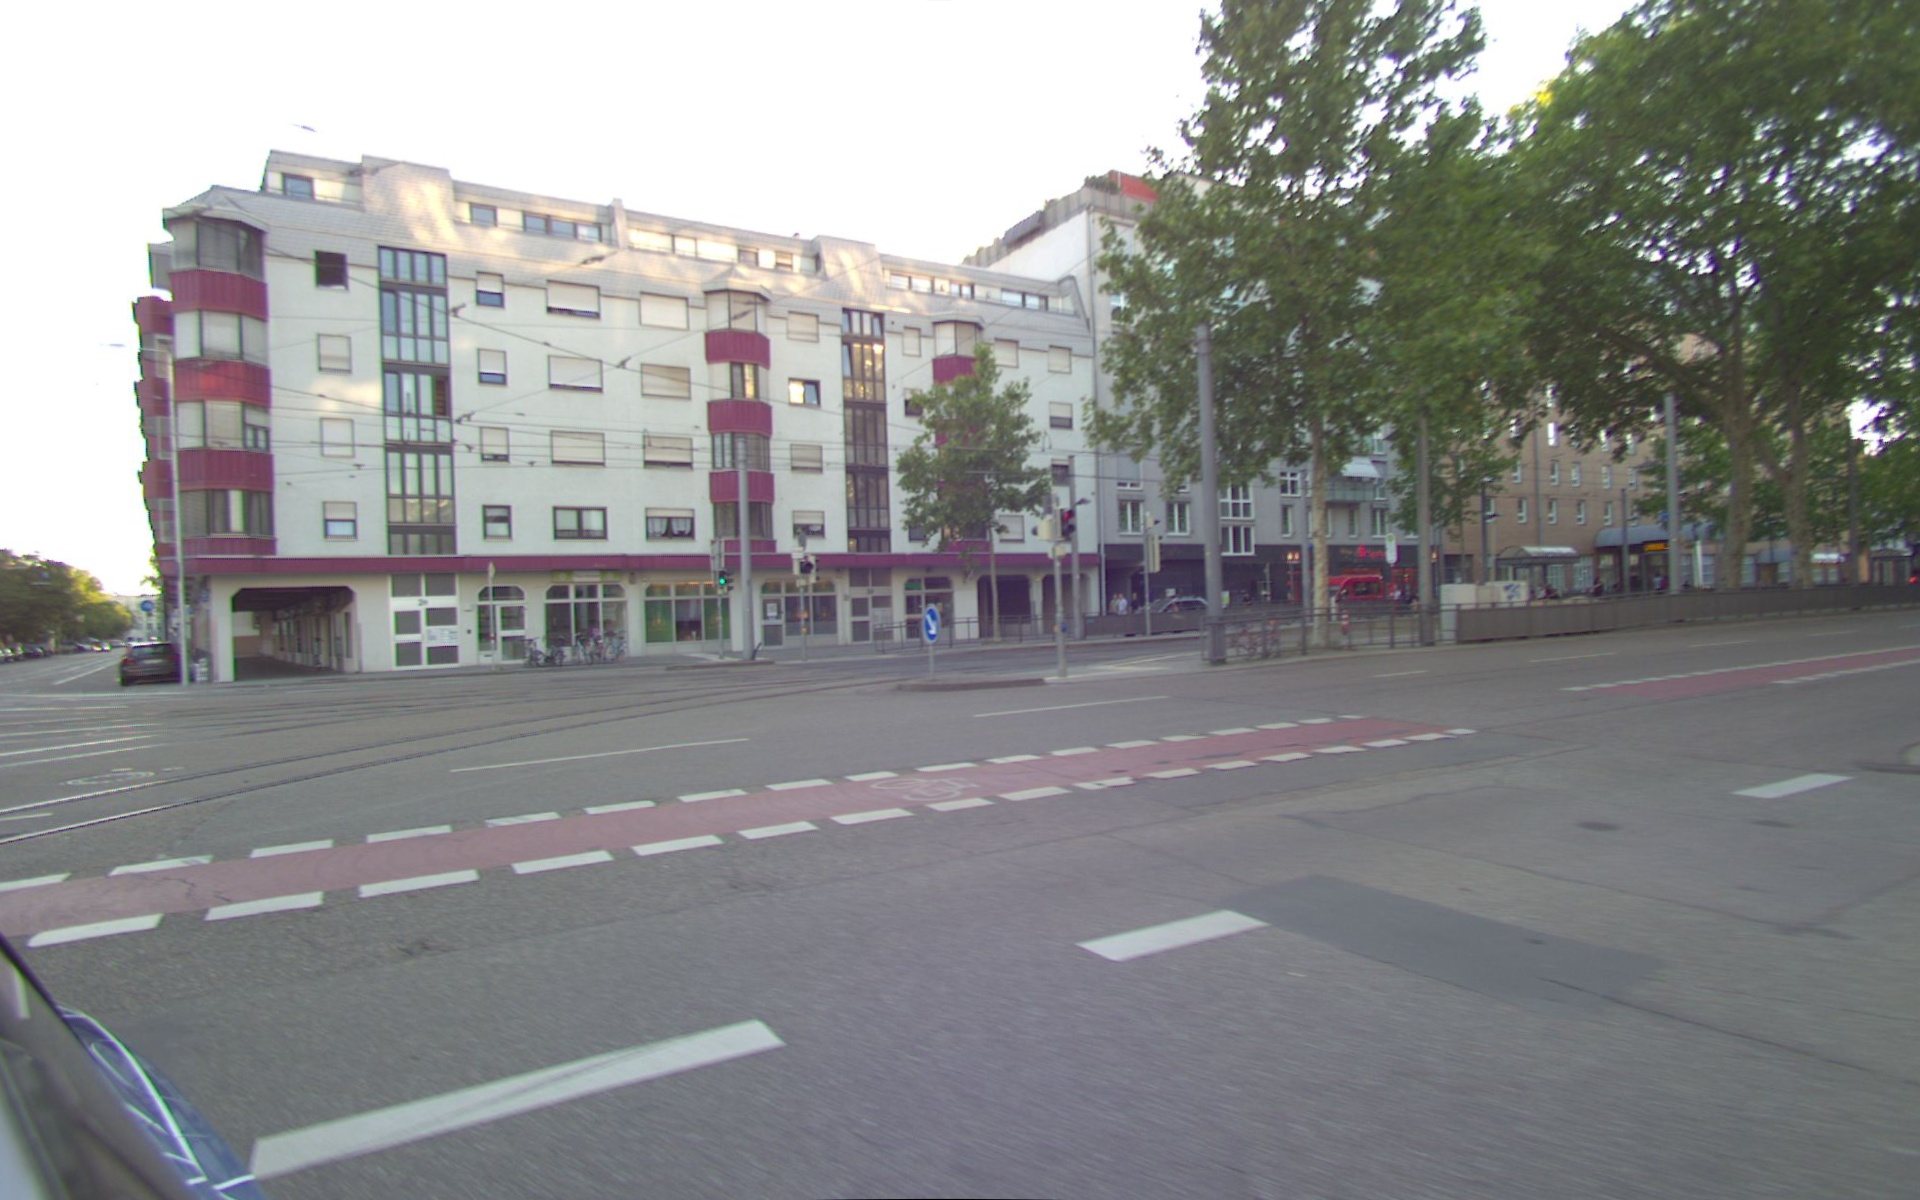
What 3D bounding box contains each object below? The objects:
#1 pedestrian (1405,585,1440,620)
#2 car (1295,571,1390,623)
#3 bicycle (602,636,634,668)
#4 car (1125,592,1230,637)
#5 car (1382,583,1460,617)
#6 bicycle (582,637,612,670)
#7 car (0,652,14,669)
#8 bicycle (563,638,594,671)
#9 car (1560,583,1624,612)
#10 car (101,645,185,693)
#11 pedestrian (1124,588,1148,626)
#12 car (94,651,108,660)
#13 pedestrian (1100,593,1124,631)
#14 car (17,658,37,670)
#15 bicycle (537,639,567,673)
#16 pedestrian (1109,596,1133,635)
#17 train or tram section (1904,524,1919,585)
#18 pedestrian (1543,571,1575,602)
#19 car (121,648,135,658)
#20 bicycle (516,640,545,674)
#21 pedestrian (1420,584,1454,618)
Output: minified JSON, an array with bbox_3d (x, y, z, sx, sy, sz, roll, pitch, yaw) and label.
[{"bbox_3d":[20.390,0.100,44.584,0.981,1.464,0.940,-2,-1,-31],"label":"pedestrian"},{"bbox_3d":[20.450,-0.170,54.078,4.996,2.560,1.857,-3,-1,-30],"label":"car"},{"bbox_3d":[-11.606,1.757,34.335,0.507,1.054,1.908,-2,-1,-33],"label":"bicycle"},{"bbox_3d":[8.862,0.578,41.117,4.032,1.608,1.671,-2,-1,-31],"label":"car"},{"bbox_3d":[24.307,-0.006,53.386,4.032,1.608,1.671,-2,-1,-31],"label":"car"},{"bbox_3d":[-12.281,1.813,34.202,0.507,1.054,1.908,-2,-1,-33],"label":"bicycle"},{"bbox_3d":[-106.433,6.767,112.424,1.759,1.853,4.302,-2,-1,-42],"label":"car"},{"bbox_3d":[-12.802,1.811,33.923,0.507,1.054,1.908,-2,-1,-33],"label":"bicycle"},{"bbox_3d":[39.486,-0.171,63.215,4.032,1.608,1.671,-2,-1,-31],"label":"car"},{"bbox_3d":[-28.870,2.389,35.876,1.975,1.468,4.307,-2,-1,-35],"label":"car"},{"bbox_3d":[8.536,0.346,49.116,0.821,1.820,0.694,-2,-1,-29],"label":"pedestrian"},{"bbox_3d":[-154.416,10.013,181.950,1.758,1.468,4.305,-2,-1,-39],"label":"car"},{"bbox_3d":[7.355,0.585,48.928,0.821,1.820,0.694,-2,-1,-29],"label":"pedestrian"},{"bbox_3d":[-120.882,8.237,131.103,1.759,1.446,4.302,-2,-1,-42],"label":"car"},{"bbox_3d":[-13.474,1.834,33.419,0.507,1.054,1.908,-2,-1,-33],"label":"bicycle"},{"bbox_3d":[7.660,0.747,48.179,0.821,1.820,0.694,-2,-1,-29],"label":"pedestrian"},{"bbox_3d":[58.178,-2.760,58.862,10.359,3.414,2.344,-2,-1,-34],"label":"train or tram section"},{"bbox_3d":[29.811,-0.685,50.353,0.981,1.464,0.940,-2,-1,-31],"label":"pedestrian"},{"bbox_3d":[-137.587,8.731,167.378,1.759,1.468,4.304,-2,-1,-40],"label":"car"},{"bbox_3d":[-14.031,1.848,33.036,0.507,1.054,1.908,-2,-1,-33],"label":"bicycle"},{"bbox_3d":[21.248,0.048,45.102,0.981,1.464,0.940,-2,-1,-31],"label":"pedestrian"}]
